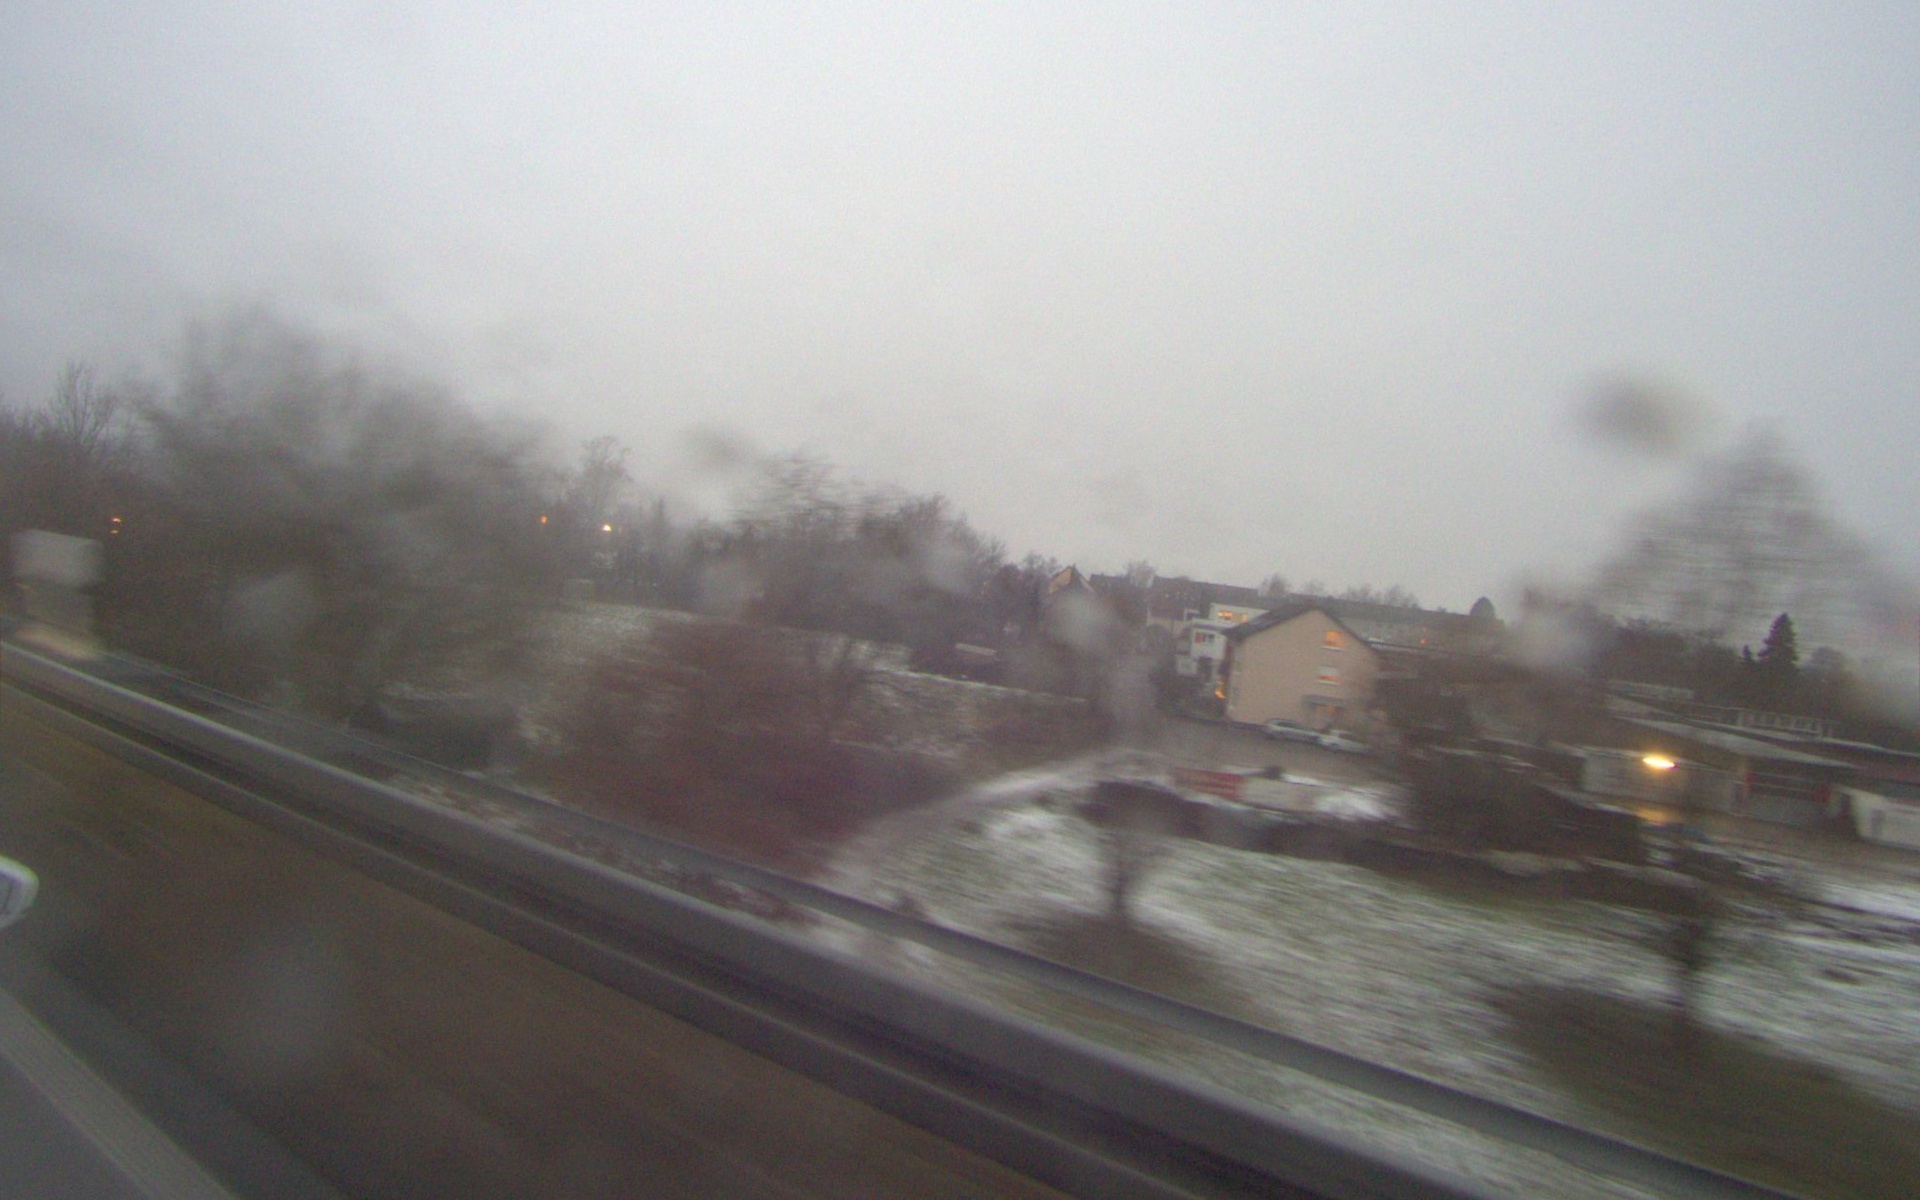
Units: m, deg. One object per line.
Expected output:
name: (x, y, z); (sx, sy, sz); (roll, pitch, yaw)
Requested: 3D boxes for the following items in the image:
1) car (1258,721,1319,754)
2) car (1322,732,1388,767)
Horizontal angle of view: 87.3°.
car: (24.474, 10.231, 75.059); (3.923, 1.748, 2.002); (7, -1, 10)
car: (28.314, 10.680, 72.189); (3.923, 1.748, 2.002); (7, -1, 10)
